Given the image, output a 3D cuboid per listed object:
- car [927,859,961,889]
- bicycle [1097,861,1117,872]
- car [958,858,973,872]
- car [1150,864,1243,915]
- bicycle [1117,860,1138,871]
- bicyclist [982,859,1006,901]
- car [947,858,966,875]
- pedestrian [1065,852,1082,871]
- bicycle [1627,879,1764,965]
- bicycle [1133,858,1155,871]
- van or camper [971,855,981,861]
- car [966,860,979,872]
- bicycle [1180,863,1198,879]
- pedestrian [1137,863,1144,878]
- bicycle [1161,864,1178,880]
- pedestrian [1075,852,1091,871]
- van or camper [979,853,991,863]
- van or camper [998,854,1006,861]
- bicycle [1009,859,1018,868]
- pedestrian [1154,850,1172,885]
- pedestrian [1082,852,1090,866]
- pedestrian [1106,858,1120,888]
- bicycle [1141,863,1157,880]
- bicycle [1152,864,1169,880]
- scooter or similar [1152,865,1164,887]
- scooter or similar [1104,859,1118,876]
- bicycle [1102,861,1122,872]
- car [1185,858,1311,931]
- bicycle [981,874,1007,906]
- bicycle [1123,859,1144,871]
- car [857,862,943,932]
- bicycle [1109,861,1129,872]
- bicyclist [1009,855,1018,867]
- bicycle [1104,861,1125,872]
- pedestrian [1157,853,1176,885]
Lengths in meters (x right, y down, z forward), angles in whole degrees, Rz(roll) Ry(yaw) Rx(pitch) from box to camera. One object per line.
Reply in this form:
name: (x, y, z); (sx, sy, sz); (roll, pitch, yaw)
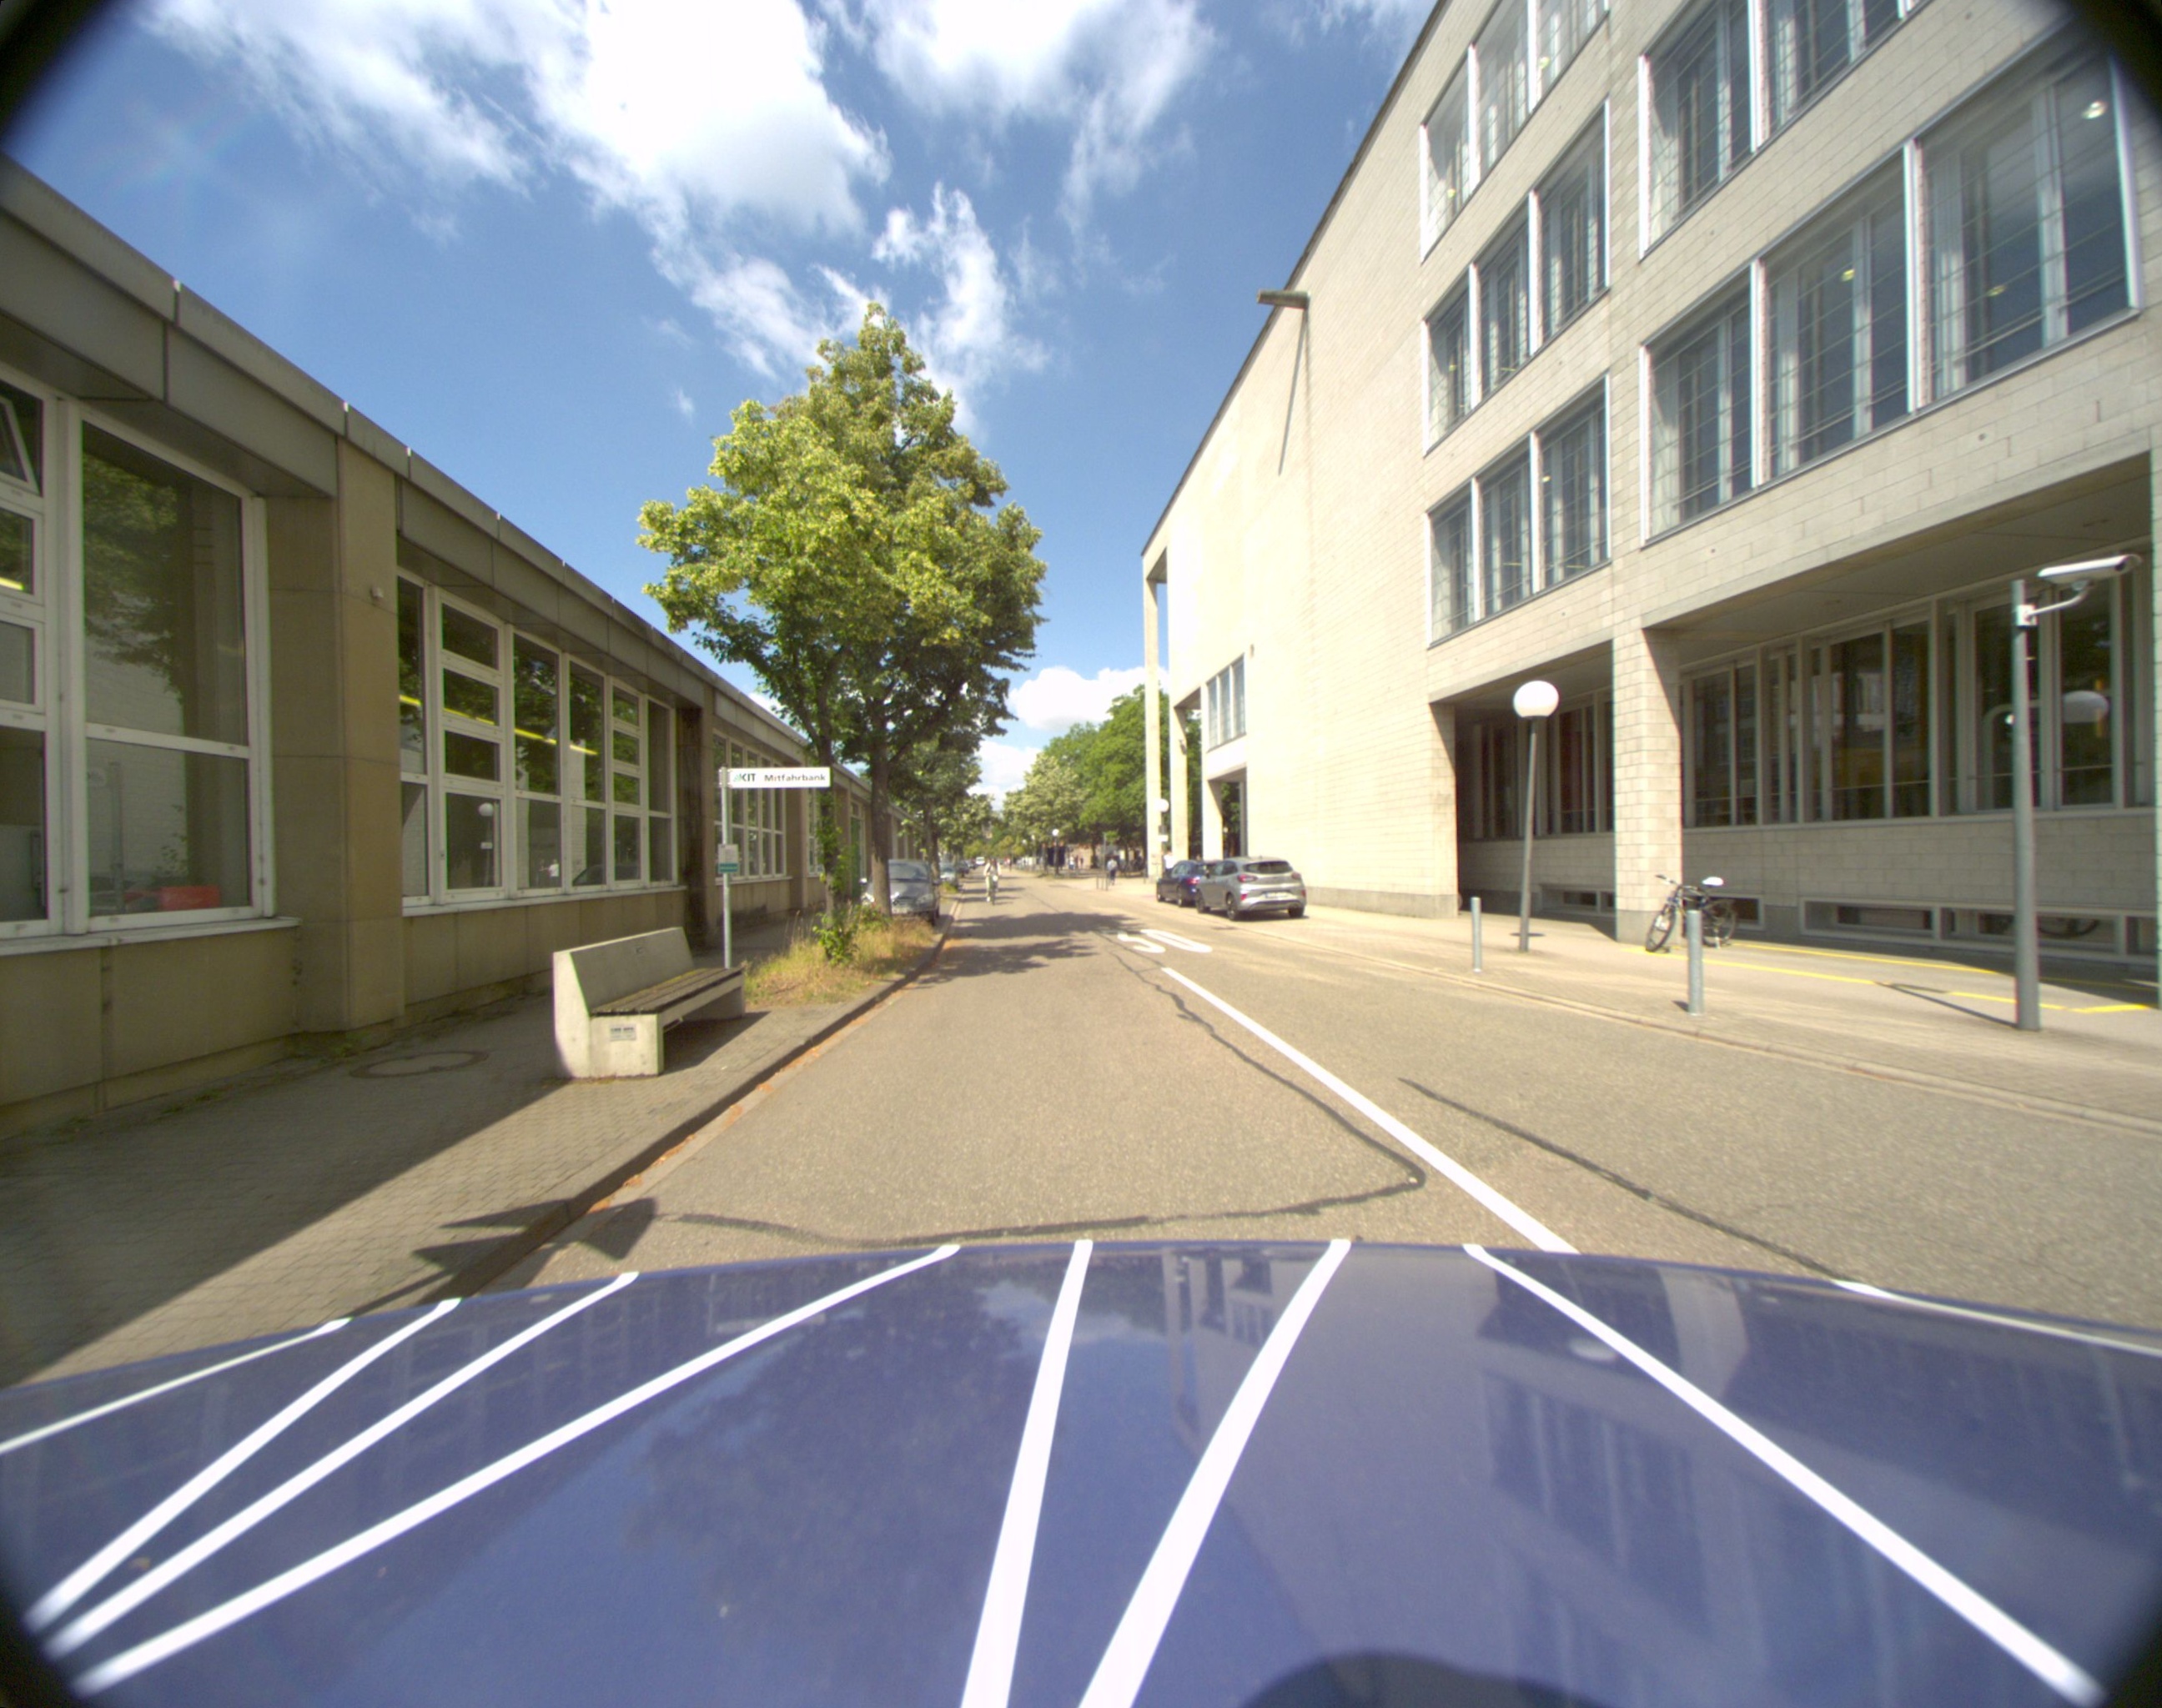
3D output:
car: (-7.411, 1.066, 41.368); (1.623, 1.503, 3.815); (1, 0, -8)
bicycle: (2.722, 1.240, 78.482); (2.128, 1.052, 0.621); (-2, 1, -37)
car: (-13.036, 1.185, 85.554); (1.650, 1.484, 3.813); (0, 0, -8)
car: (3.622, 1.068, 24.663); (1.731, 1.414, 4.661); (-1, 0, -8)
bicycle: (4.596, 1.164, 75.414); (2.128, 1.052, 0.681); (-2, 1, -37)
bicyclist: (-3.102, 0.908, 26.994); (0.781, 1.478, 0.695); (-1, 0, -10)
car: (-11.412, 1.155, 70.017); (1.650, 1.484, 3.813); (0, 0, -8)
pedestrian: (-0.717, 0.726, 73.332); (1.401, 1.813, 1.368); (-2, 0, -8)
bicycle: (8.683, 0.934, 10.748); (1.644, 1.080, 0.607); (-2, 0, -13)
bicycle: (6.115, 0.994, 73.418); (2.128, 1.151, 0.751); (-2, 1, -37)
van or camper: (-34.239, 1.405, 248.429); (2.093, 1.963, 4.261); (-2, 0, 6)
car: (-17.944, 1.989, 125.881); (2.000, 1.805, 3.998); (-1, 0, -7)
bicycle: (7.511, 1.140, 52.744); (0.622, 1.052, 2.122); (-2, 0, -8)
pedestrian: (6.634, 1.807, 84.598); (0.757, 1.661, 0.823); (-1, 1, 6)
bicycle: (6.085, 1.248, 52.359); (0.622, 1.052, 2.122); (-2, 0, -8)
pedestrian: (0.209, 0.843, 82.377); (1.401, 2.002, 1.368); (-2, 0, -8)
van or camper: (-23.753, 0.953, 187.708); (1.998, 2.347, 4.384); (-1, 0, 4)
van or camper: (-25.057, 1.114, 240.644); (1.853, 2.093, 4.304); (-2, 0, 2)
bicycle: (-9.491, 1.371, 106.939); (1.012, 1.169, 3.392); (-2, 0, -7)
pedestrian: (4.780, 0.799, 44.420); (0.755, 2.002, 1.080); (-2, 0, -8)
pedestrian: (0.715, 0.700, 107.381); (0.677, 1.882, 0.816); (-1, 1, 32)
pedestrian: (1.912, 1.117, 45.434); (0.761, 1.715, 1.235); (-4, 1, 3)
bicycle: (4.654, 1.204, 52.112); (0.509, 1.100, 1.999); (-1, 0, -12)
bicycle: (5.447, 1.230, 52.278); (0.592, 1.052, 2.122); (-2, 0, -8)
scooter or similar: (4.224, 1.201, 41.677); (0.318, 1.138, 1.312); (-2, 0, -8)
scooter or similar: (2.288, 1.035, 57.170); (0.713, 1.184, 1.616); (-1, 1, 14)
bicycle: (3.154, 1.266, 77.911); (2.128, 1.052, 0.621); (-2, 1, -37)
car: (4.141, 0.934, 19.590); (1.731, 1.526, 4.402); (-3, 1, -8)
bicycle: (-3.096, 1.273, 26.981); (0.781, 1.042, 1.911); (-1, 0, -10)
bicycle: (5.192, 1.100, 74.610); (2.128, 1.100, 0.681); (-2, 1, -37)
car: (-4.445, 0.988, 19.118); (1.762, 1.559, 3.815); (0, 0, -8)
bicycle: (3.840, 1.236, 76.790); (2.128, 1.052, 0.681); (-2, 1, -37)
bicyclist: (-9.503, 0.931, 106.927); (1.054, 1.690, 1.281); (-2, 1, -8)
bicycle: (3.425, 1.276, 77.347); (2.128, 1.052, 0.621); (-2, 1, -37)
pedestrian: (4.863, 0.862, 43.226); (0.755, 1.770, 1.080); (-2, 0, -8)
